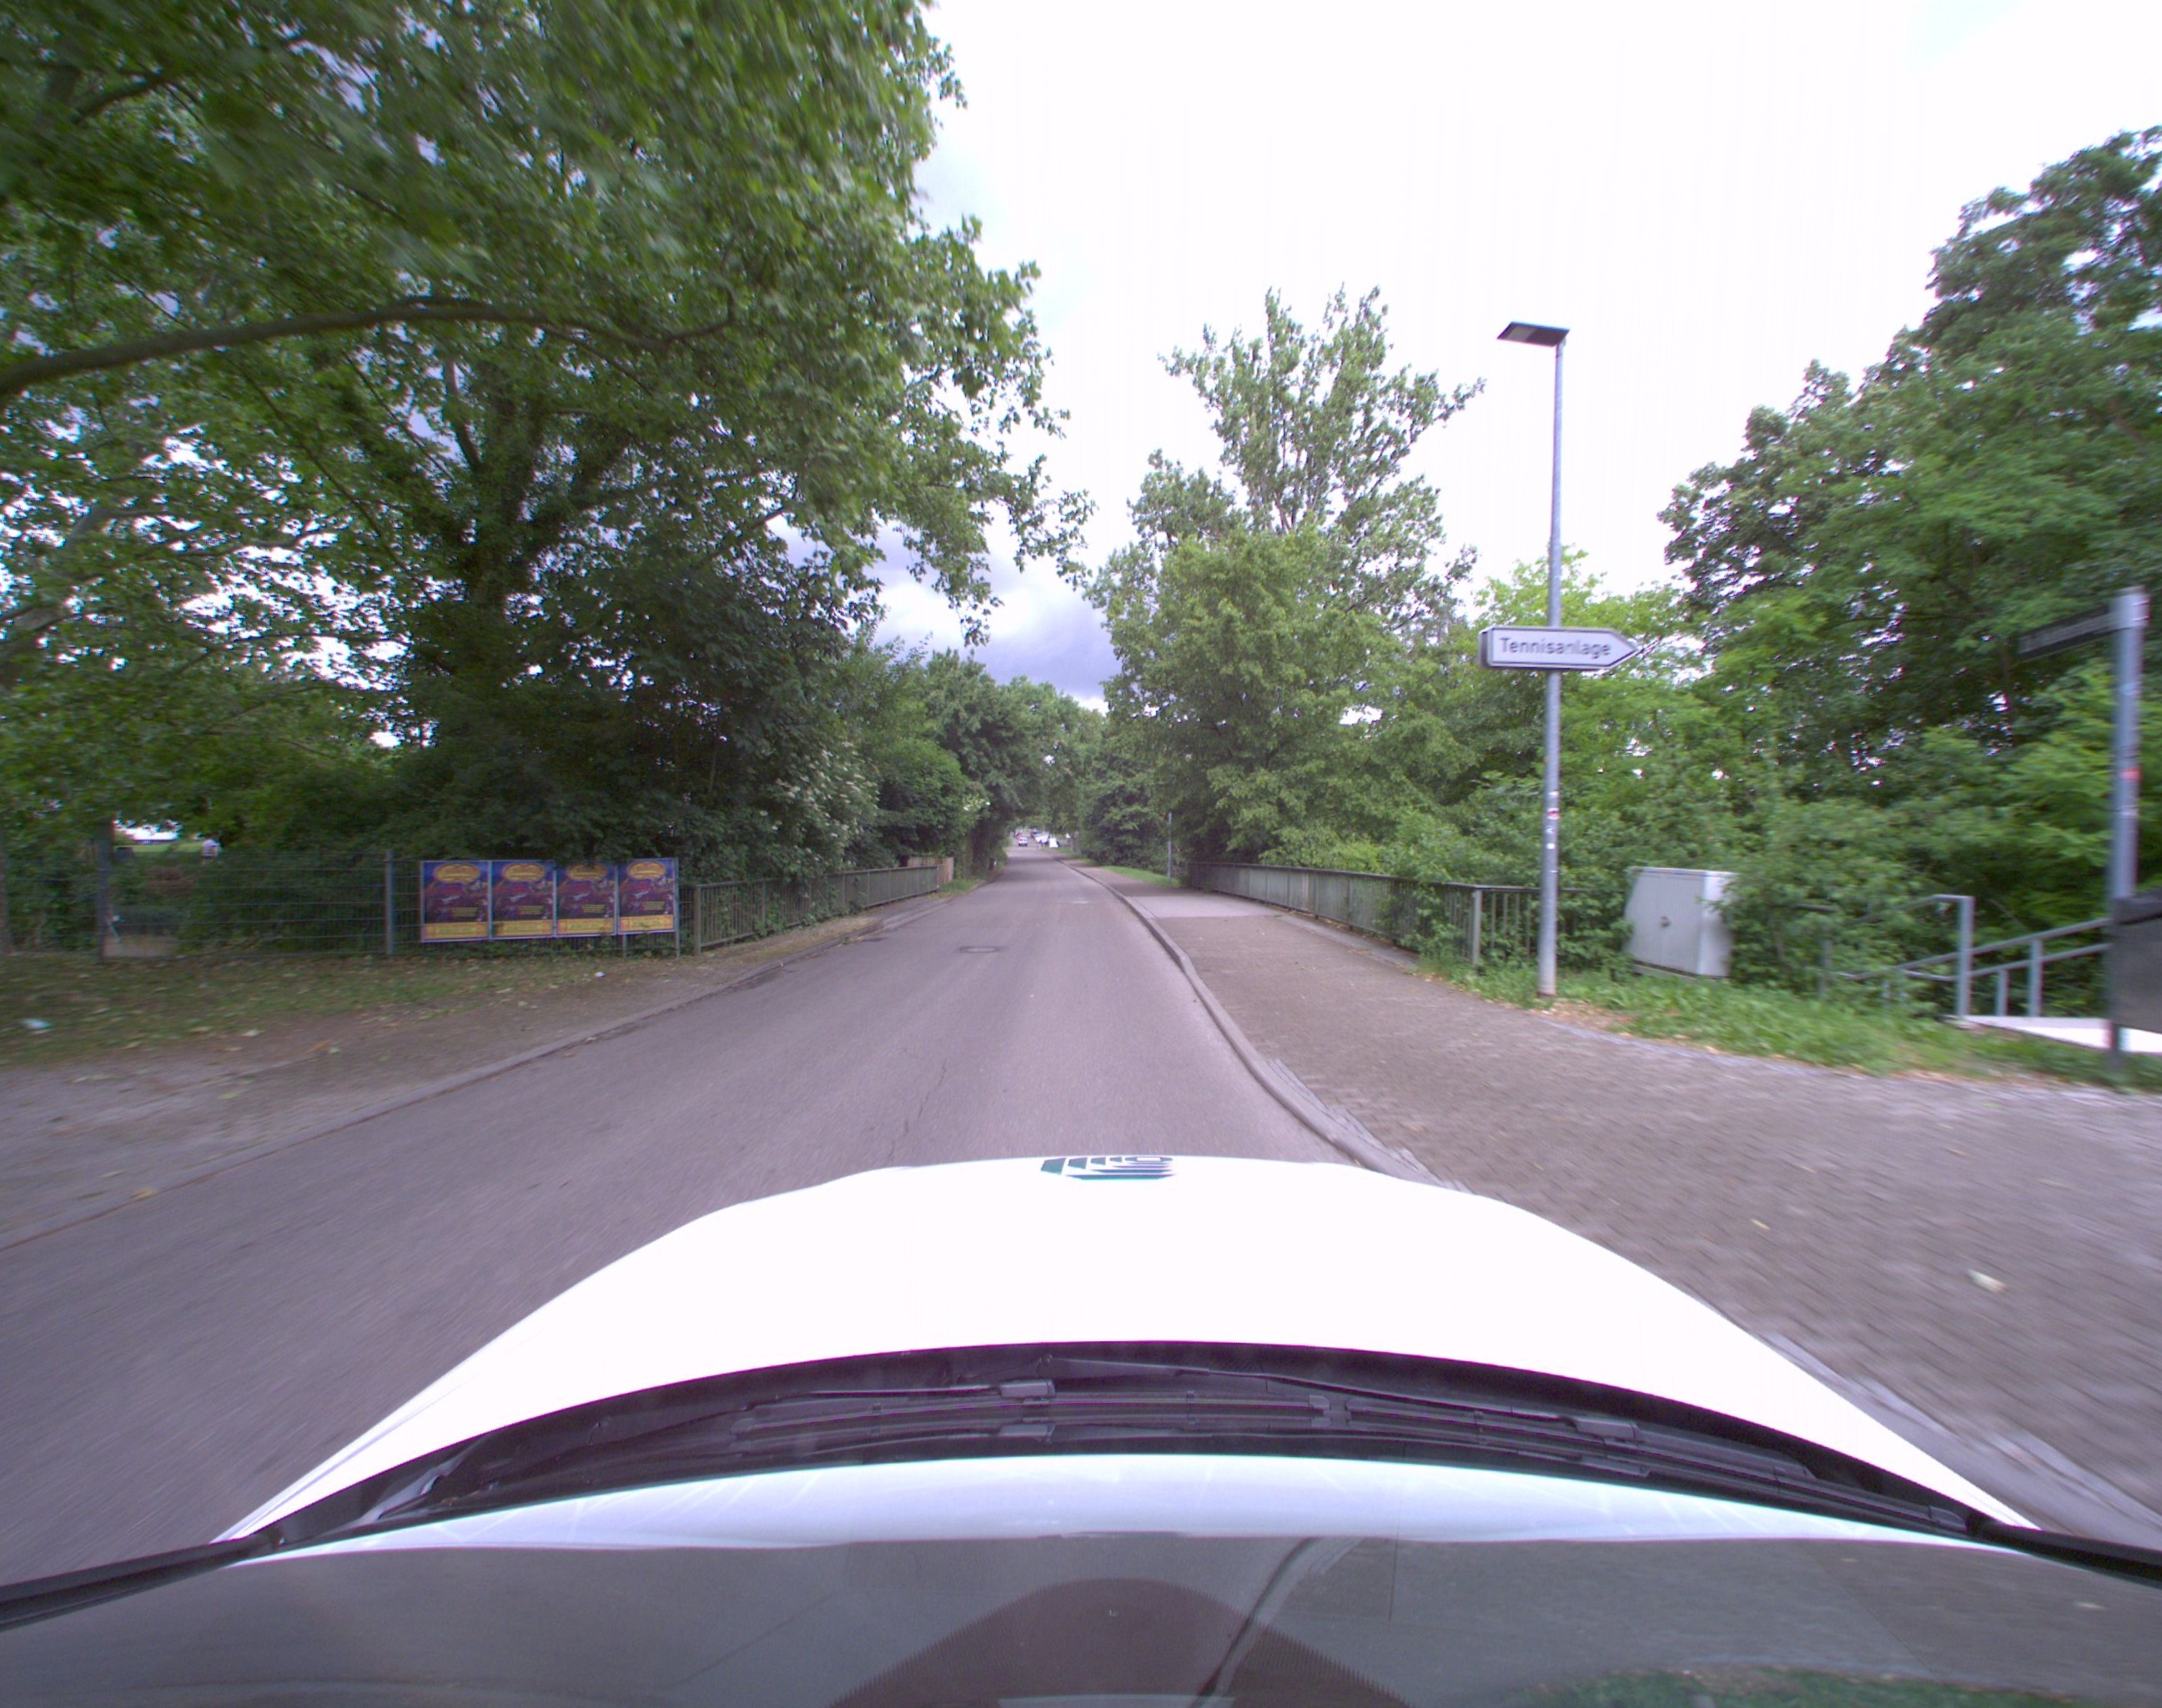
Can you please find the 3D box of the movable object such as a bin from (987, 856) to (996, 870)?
[{"bbox_3d":[-6.106,0.616,55.683,0.589,0.957,0.469,0,-1,-3],"label":"movable object such as a bin"}]

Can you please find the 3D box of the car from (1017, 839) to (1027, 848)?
[{"bbox_3d":[-12.204,-2.148,168.597,1.989,1.772,3.995,0,-1,-3],"label":"car"}]
